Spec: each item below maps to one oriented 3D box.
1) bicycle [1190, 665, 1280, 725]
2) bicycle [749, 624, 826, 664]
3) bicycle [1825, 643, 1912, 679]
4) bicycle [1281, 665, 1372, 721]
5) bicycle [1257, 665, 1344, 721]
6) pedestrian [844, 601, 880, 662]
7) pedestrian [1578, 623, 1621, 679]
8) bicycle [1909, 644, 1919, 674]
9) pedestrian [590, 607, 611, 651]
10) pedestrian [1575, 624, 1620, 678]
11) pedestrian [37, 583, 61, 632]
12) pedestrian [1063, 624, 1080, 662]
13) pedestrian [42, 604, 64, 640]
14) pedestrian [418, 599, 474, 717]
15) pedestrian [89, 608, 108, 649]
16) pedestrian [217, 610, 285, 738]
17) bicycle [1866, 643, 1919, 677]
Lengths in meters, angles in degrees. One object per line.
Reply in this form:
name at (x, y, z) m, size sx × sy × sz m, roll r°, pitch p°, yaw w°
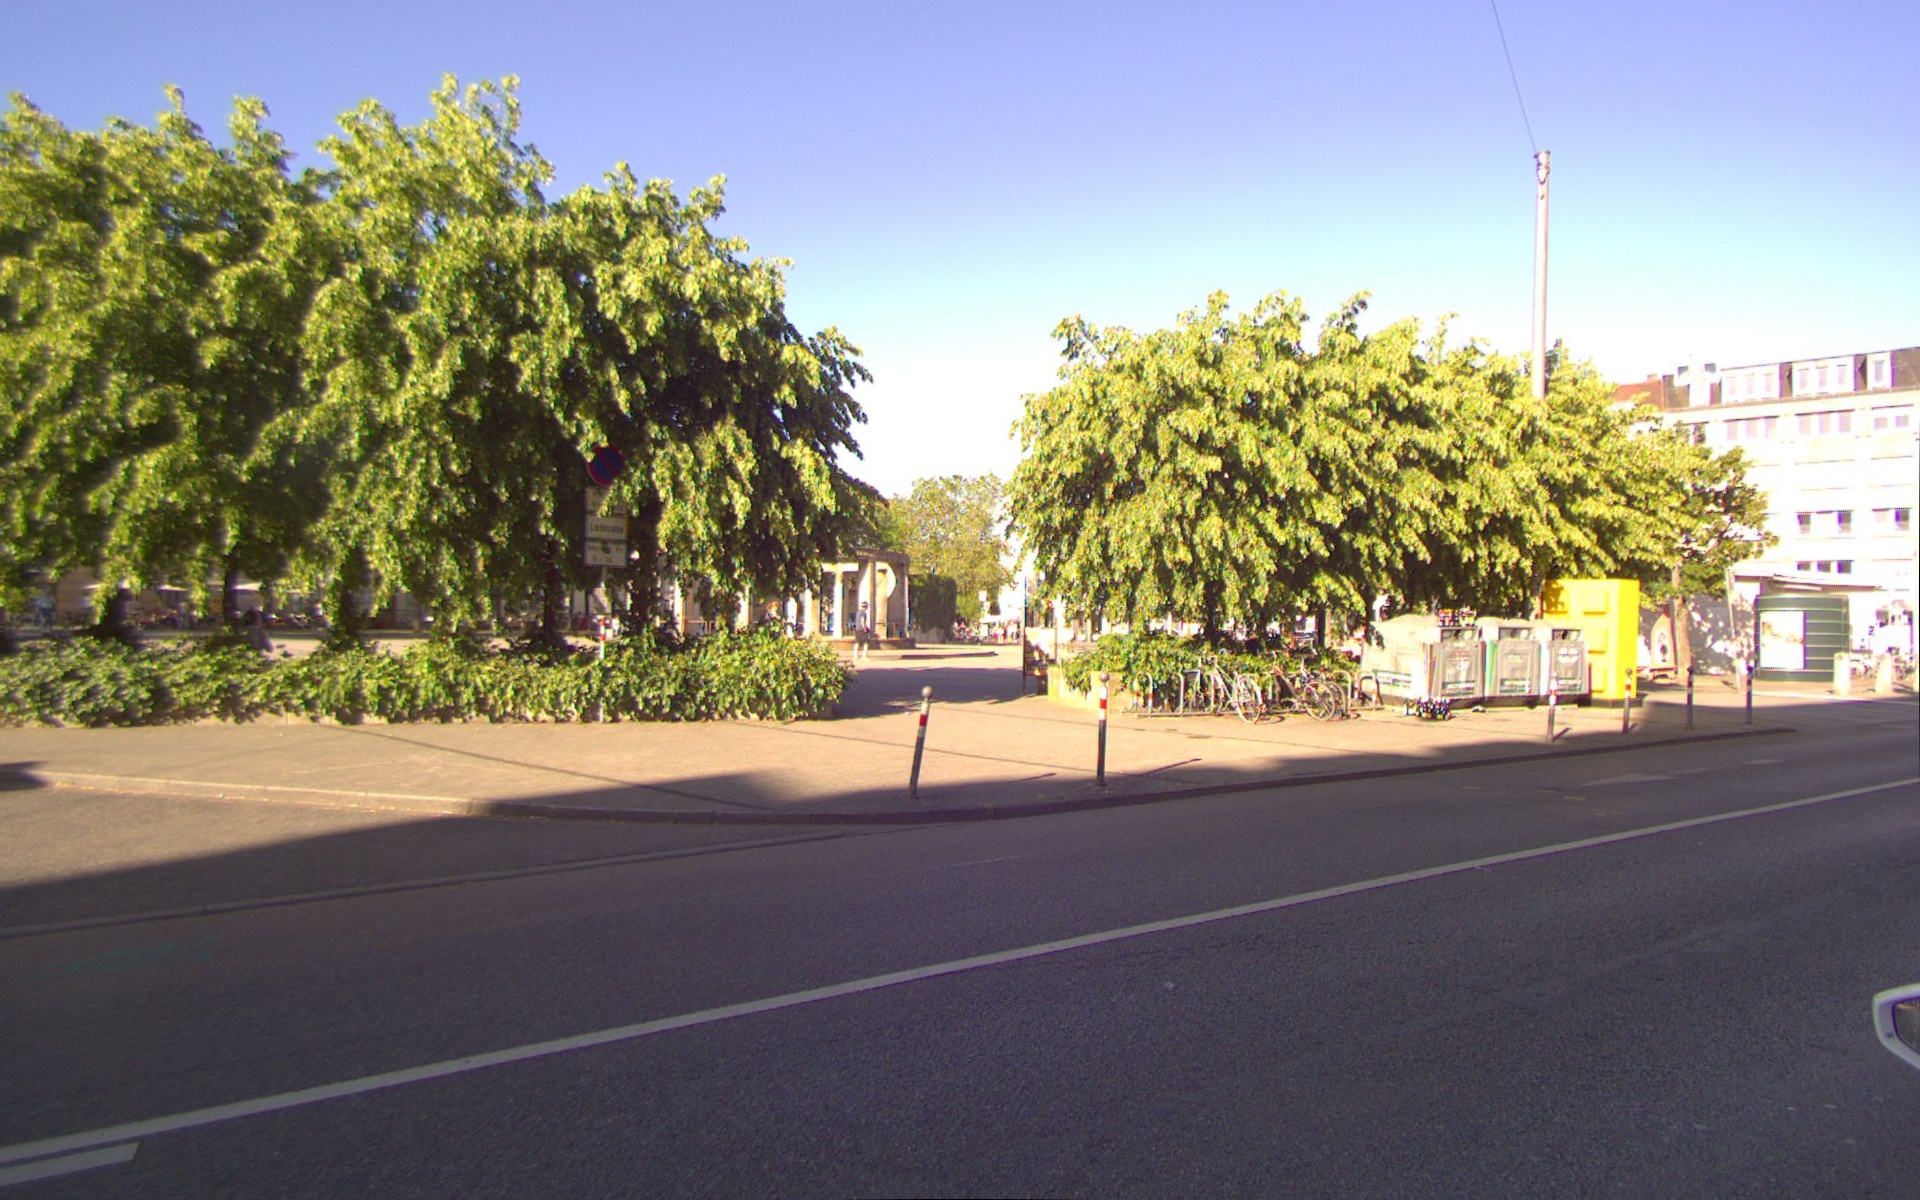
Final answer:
bicycle at (4.231, 1.449, 15.570) m, size 0.467 × 0.779 × 1.653 m, roll 2°, pitch 0°, yaw -20°
bicycle at (-4.674, 1.199, 27.259) m, size 2.022 × 1.030 × 0.503 m, roll 2°, pitch 0°, yaw -10°
bicycle at (30.870, 2.066, 34.160) m, size 0.796 × 1.119 × 2.072 m, roll 1°, pitch -1°, yaw -30°
bicycle at (5.970, 1.495, 16.422) m, size 0.468 × 0.779 × 1.468 m, roll 2°, pitch 0°, yaw -27°
bicycle at (5.463, 1.480, 16.197) m, size 0.435 × 0.779 × 1.469 m, roll 2°, pitch 0°, yaw -25°
pedestrian at (-2.907, 0.923, 29.750) m, size 0.918 × 1.775 × 0.728 m, roll 2°, pitch 0°, yaw -15°
pedestrian at (20.328, 1.616, 31.957) m, size 0.734 × 1.748 × 0.898 m, roll 1°, pitch 0°, yaw -26°
bicycle at (37.138, 2.248, 37.713) m, size 0.796 × 1.119 × 2.072 m, roll 1°, pitch -1°, yaw -30°
pedestrian at (-14.624, 1.175, 40.865) m, size 0.579 × 1.744 × 0.593 m, roll 2°, pitch 0°, yaw -44°
pedestrian at (20.302, 1.620, 31.989) m, size 0.727 × 1.658 × 0.983 m, roll 1°, pitch 0°, yaw -26°
pedestrian at (-34.194, 0.283, 37.708) m, size 0.597 × 1.816 × 0.576 m, roll 2°, pitch 0°, yaw -40°
pedestrian at (6.032, 2.332, 54.290) m, size 0.670 × 2.040 × 0.579 m, roll 2°, pitch 0°, yaw -23°
pedestrian at (-45.489, 1.097, 50.366) m, size 0.571 × 1.816 × 0.601 m, roll 1°, pitch 0°, yaw 19°
pedestrian at (-8.432, 0.938, 16.480) m, size 0.574 × 1.881 × 0.598 m, roll 1°, pitch 0°, yaw 41°
pedestrian at (-38.480, 1.269, 44.854) m, size 0.579 × 1.816 × 0.593 m, roll 2°, pitch 0°, yaw -44°
pedestrian at (-10.724, 1.098, 15.221) m, size 0.722 × 1.881 × 0.578 m, roll 2°, pitch 0°, yaw -28°
bicycle at (33.175, 2.113, 35.134) m, size 0.796 × 1.119 × 2.072 m, roll 1°, pitch -1°, yaw -30°
